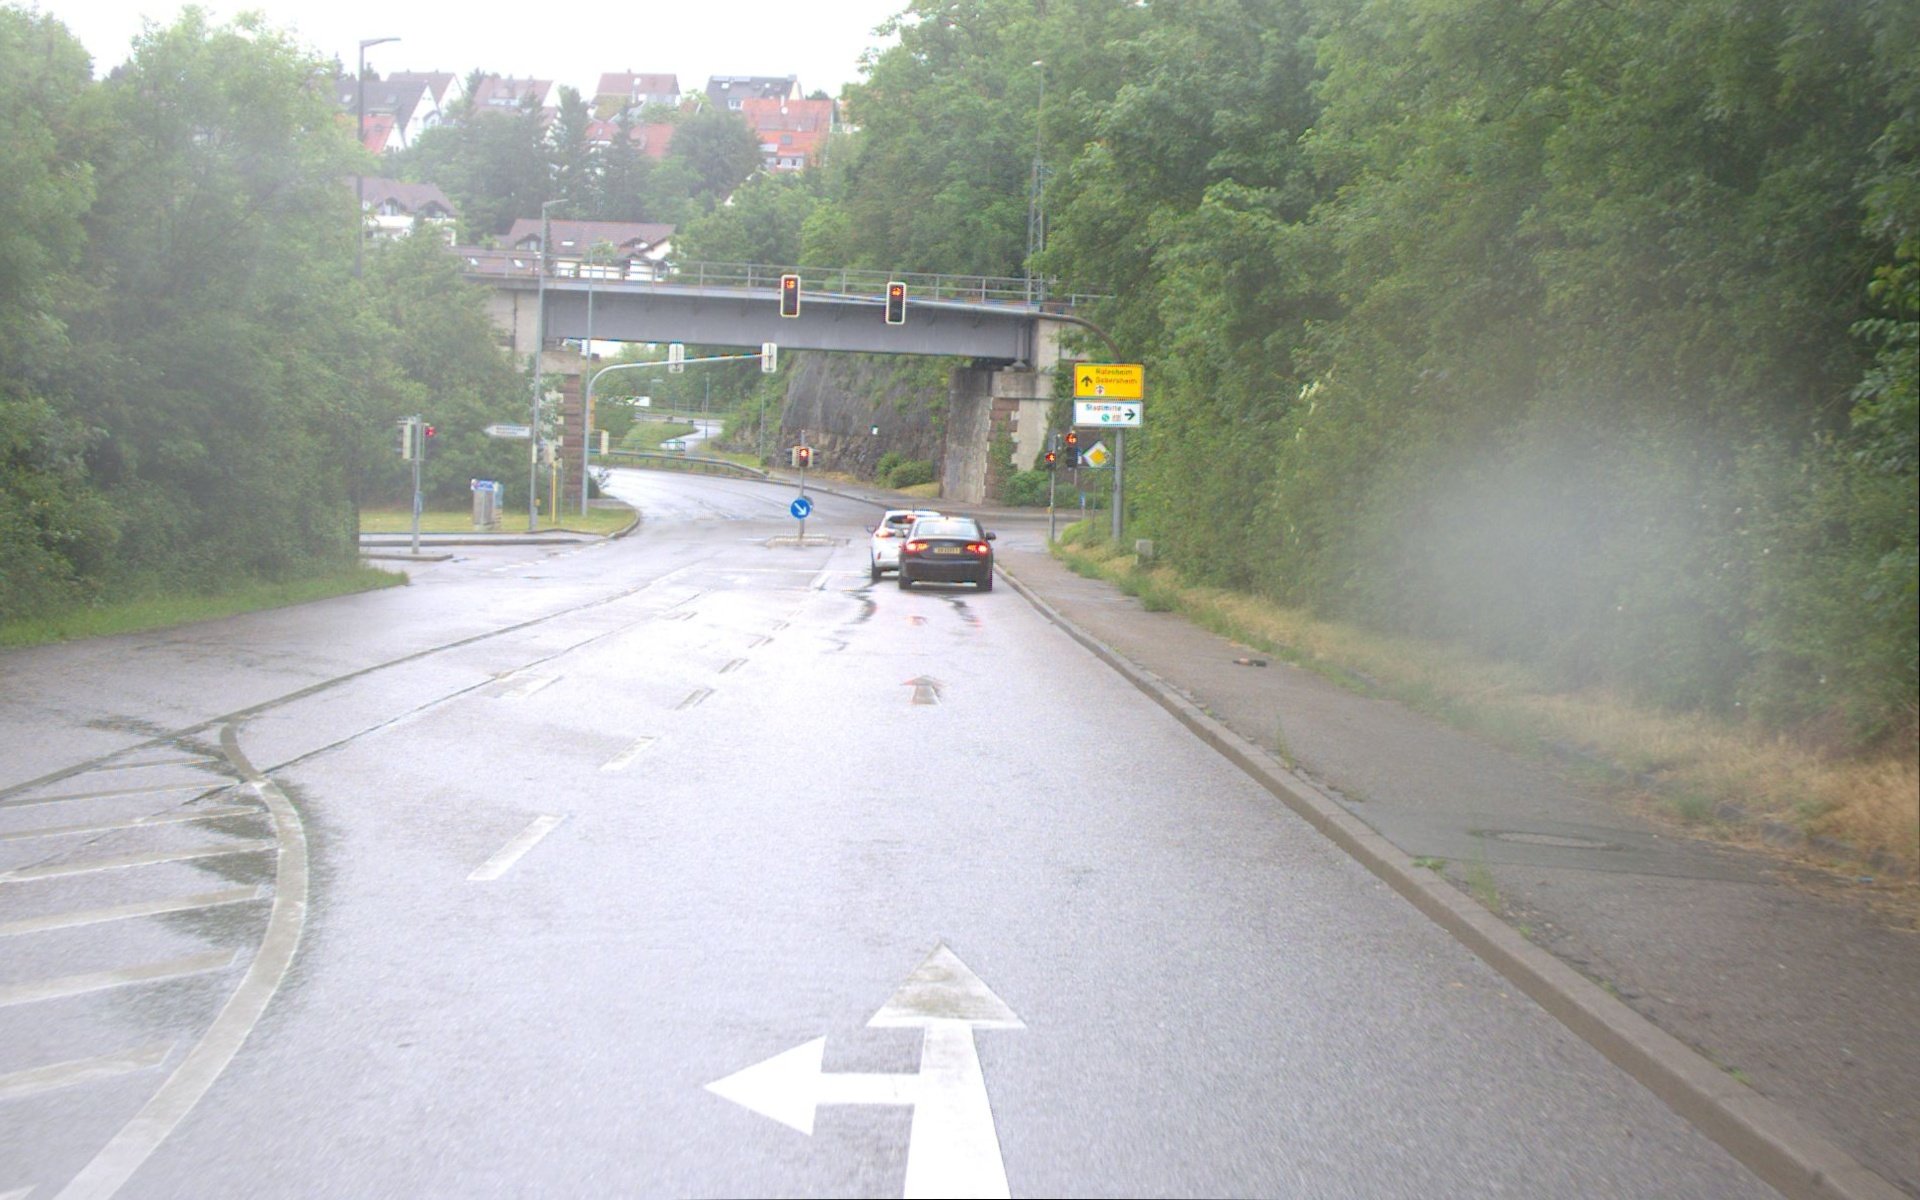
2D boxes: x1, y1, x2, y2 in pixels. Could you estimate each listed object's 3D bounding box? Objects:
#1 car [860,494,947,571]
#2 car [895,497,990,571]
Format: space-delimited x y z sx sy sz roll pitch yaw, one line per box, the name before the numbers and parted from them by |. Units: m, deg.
car | -1.162 -1.441 72.768 1.768 1.557 4.000 1 1 0
car | -0.332 -1.275 66.084 1.768 1.375 4.000 1 1 0
